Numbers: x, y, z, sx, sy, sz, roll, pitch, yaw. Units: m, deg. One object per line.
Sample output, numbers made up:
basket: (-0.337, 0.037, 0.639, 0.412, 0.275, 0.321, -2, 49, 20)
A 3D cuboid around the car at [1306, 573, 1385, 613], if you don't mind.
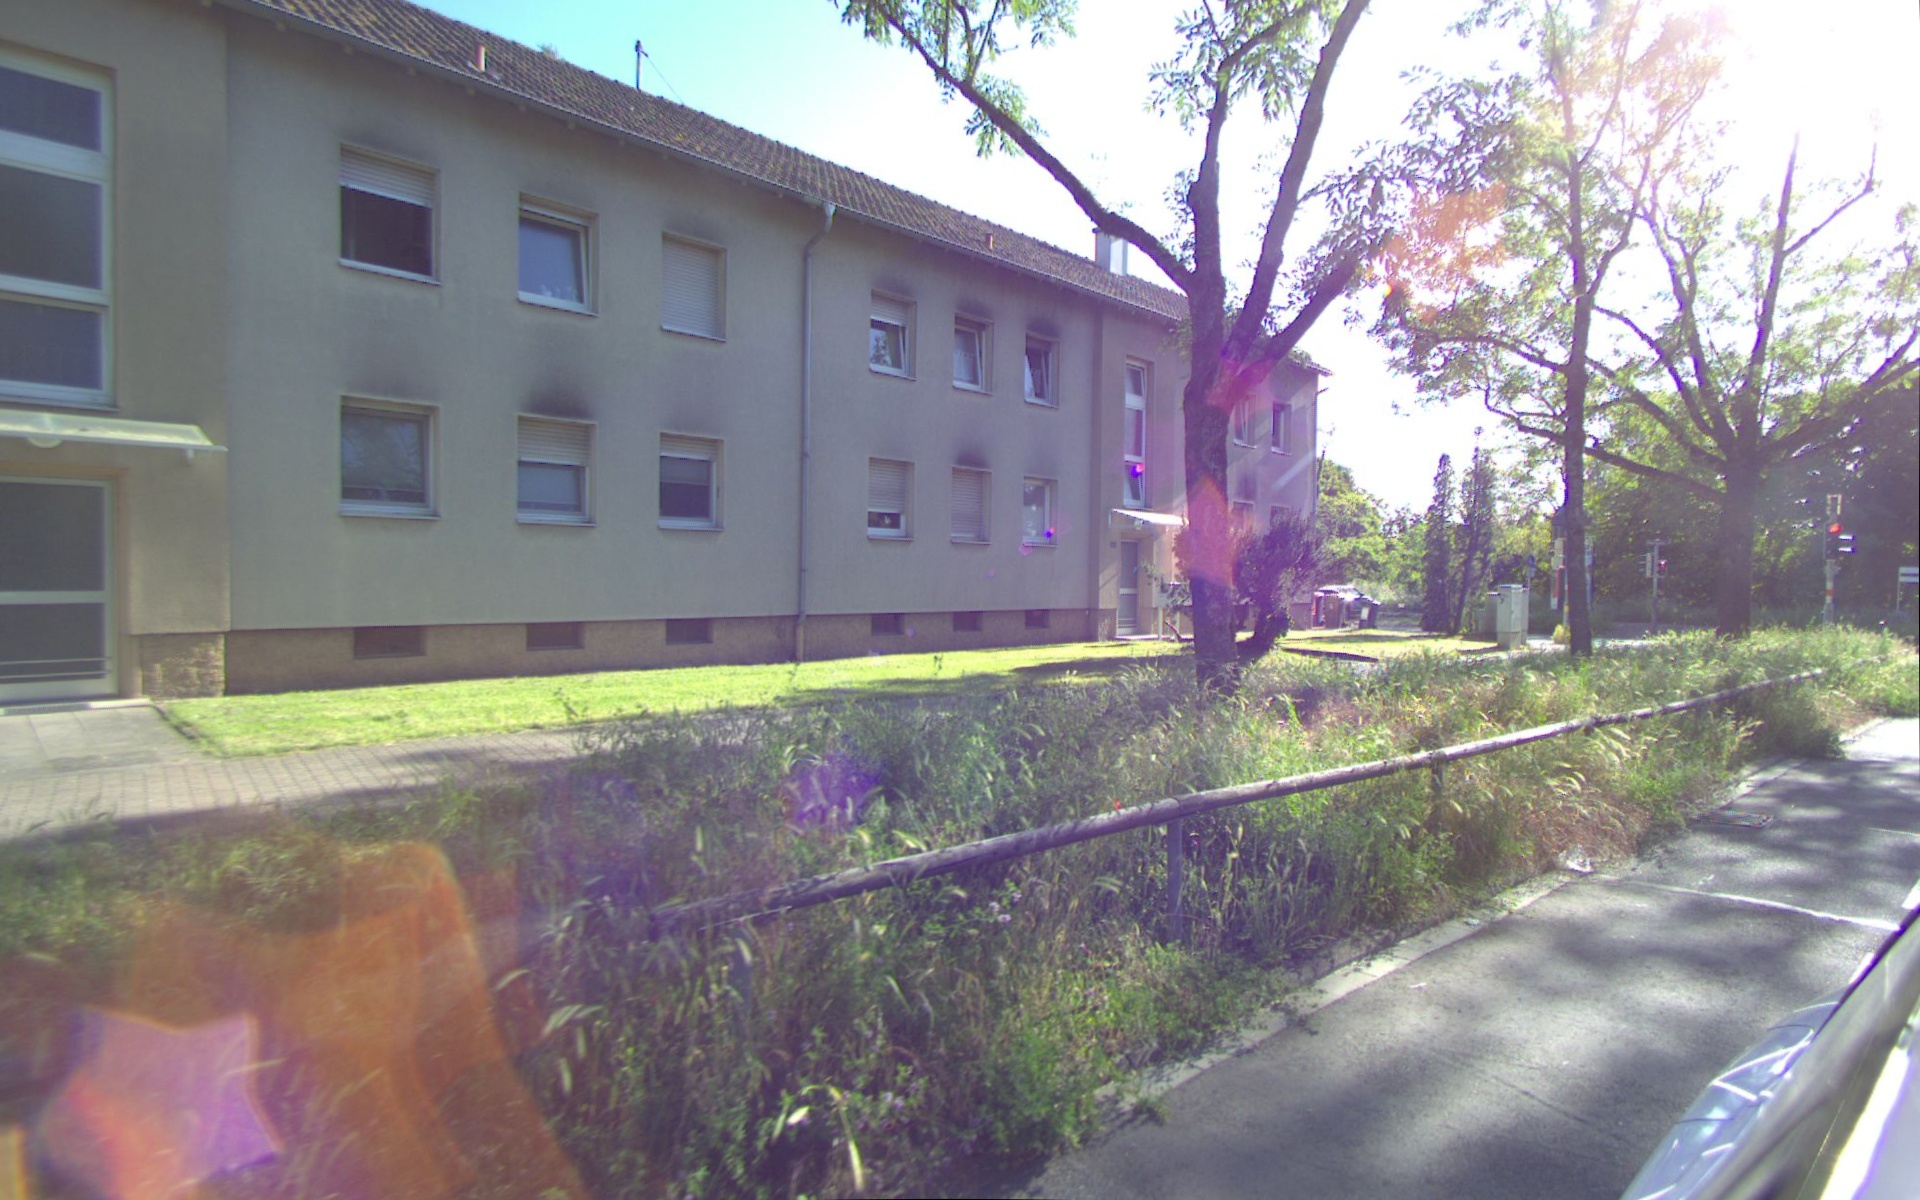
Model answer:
car: (18.406, -0.379, 48.261, 4.377, 1.670, 1.864, -4, 3, -44)
